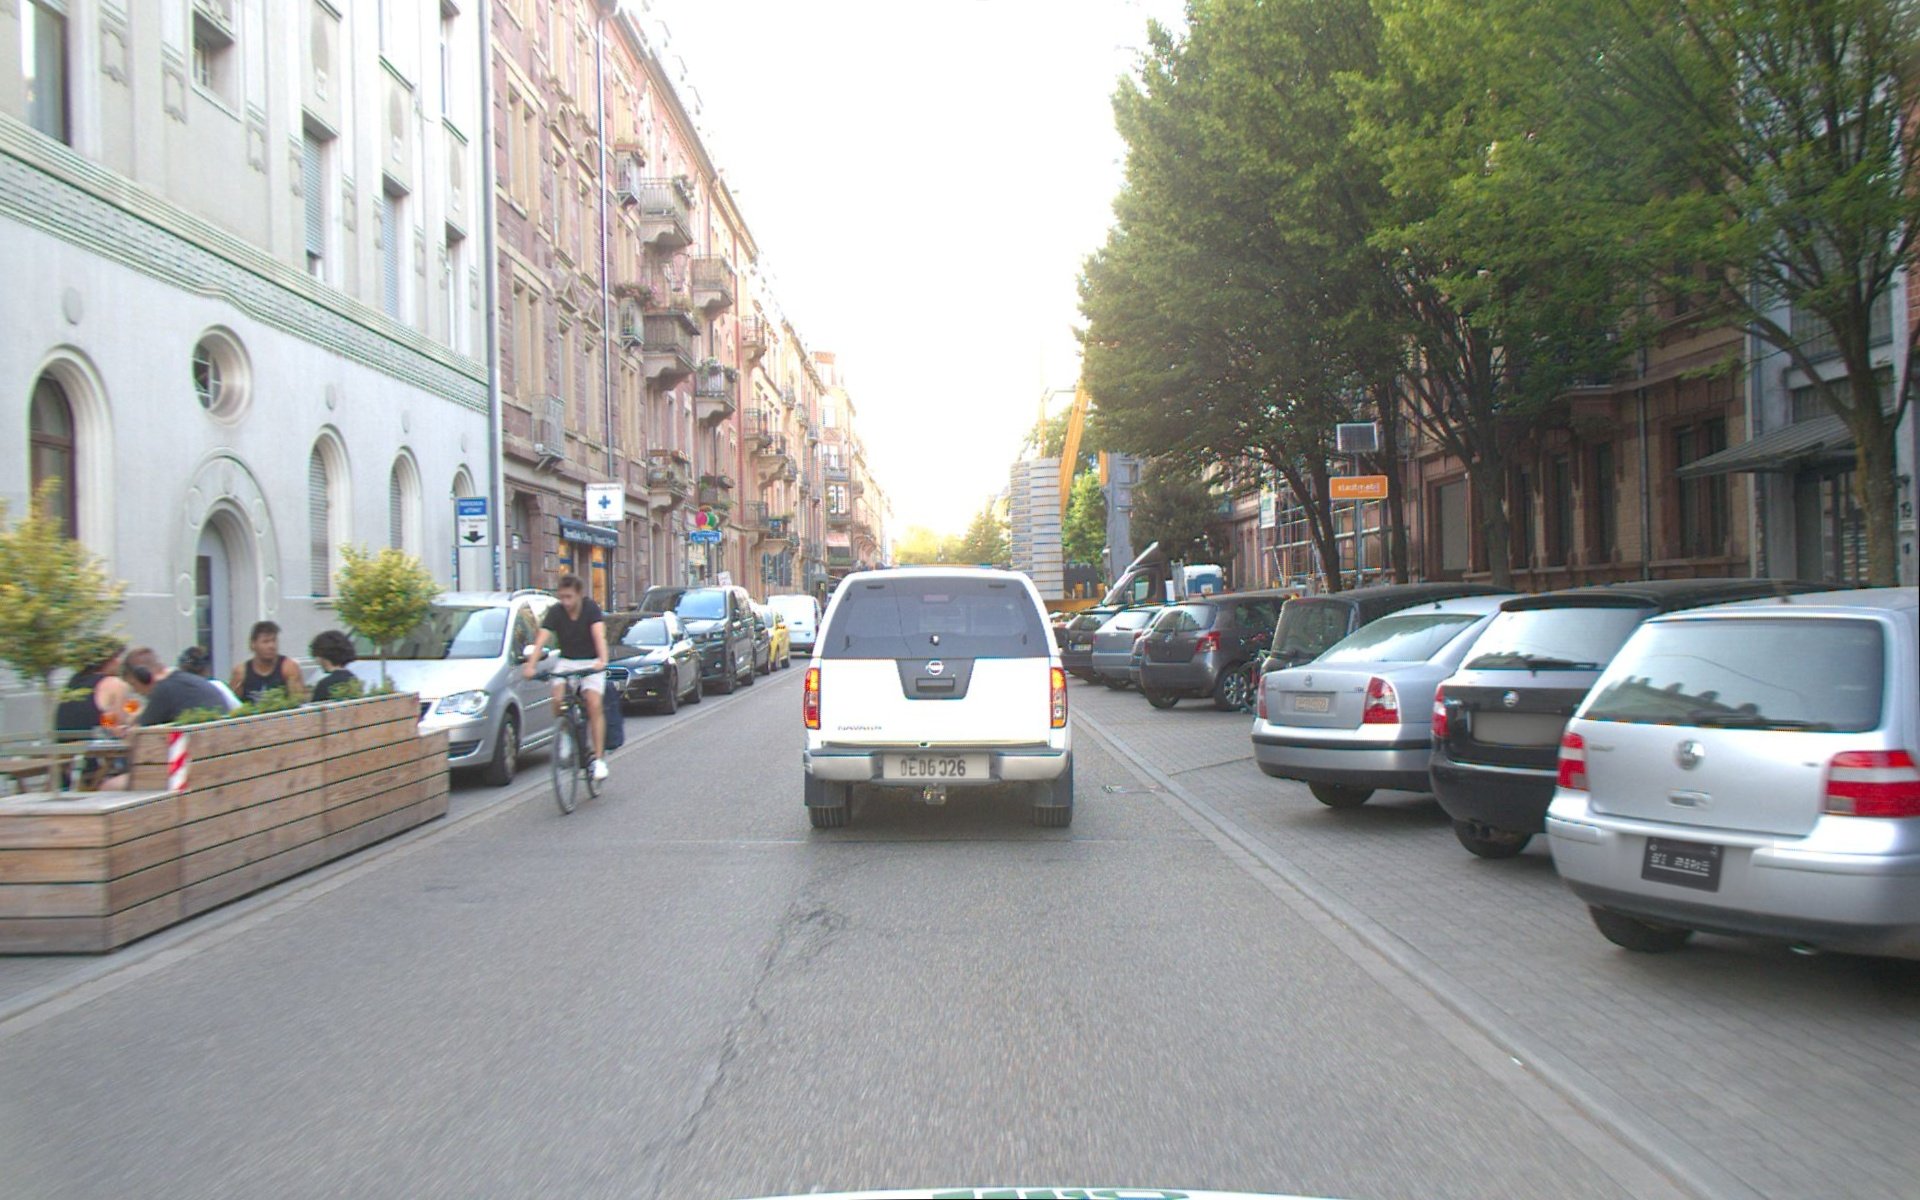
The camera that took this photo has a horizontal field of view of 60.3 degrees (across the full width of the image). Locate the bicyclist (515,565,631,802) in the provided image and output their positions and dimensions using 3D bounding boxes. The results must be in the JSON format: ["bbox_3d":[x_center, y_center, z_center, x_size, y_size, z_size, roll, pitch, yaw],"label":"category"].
[{"bbox_3d":[-2.941,0.611,12.664,0.590,1.714,1.142,-1,0,-1],"label":"bicyclist"}]

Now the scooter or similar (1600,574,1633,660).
[{"bbox_3d":[9.953,0.235,25.056,0.361,1.239,1.703,-4,-1,23],"label":"scooter or similar"}]

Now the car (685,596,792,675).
[{"bbox_3d":[-5.082,0.778,38.512,1.865,1.692,4.068,-1,0,1],"label":"car"}]

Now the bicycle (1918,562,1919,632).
[{"bbox_3d":[8.505,0.378,12.195,2.482,1.403,0.599,-1,0,1],"label":"bicycle"}]

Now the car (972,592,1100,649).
[{"bbox_3d":[2.507,0.674,54.113,4.107,1.811,1.820,-1,0,5],"label":"car"}]

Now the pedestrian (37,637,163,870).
[{"bbox_3d":[-5.279,0.922,10.172,0.459,1.374,0.610,-1,-1,-2],"label":"pedestrian"}]

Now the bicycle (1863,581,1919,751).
[{"bbox_3d":[8.537,0.384,12.932,2.483,1.266,0.599,-7,-1,1],"label":"bicycle"}]

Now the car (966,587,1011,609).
[{"bbox_3d":[2.849,-0.186,165.972,4.492,2.215,1.820,-1,0,2],"label":"car"}]

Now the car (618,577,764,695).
[{"bbox_3d":[-4.784,0.601,30.085,1.866,1.959,4.946,0,0,0],"label":"car"}]

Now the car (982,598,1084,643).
[{"bbox_3d":[2.965,0.829,67.568,4.108,1.811,1.820,-1,0,2],"label":"car"}]

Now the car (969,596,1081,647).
[{"bbox_3d":[2.340,0.774,60.345,3.906,1.676,1.999,-2,0,-2],"label":"car"}]

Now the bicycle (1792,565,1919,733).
[{"bbox_3d":[8.612,0.393,14.308,2.482,1.403,0.599,-1,0,1],"label":"bicycle"}]

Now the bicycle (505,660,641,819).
[{"bbox_3d":[-2.936,1.026,12.725,0.602,1.058,1.903,-1,0,-1],"label":"bicycle"}]

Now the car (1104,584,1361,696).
[{"bbox_3d":[4.411,0.619,26.768,3.779,1.557,1.747,-3,0,-27],"label":"car"}]

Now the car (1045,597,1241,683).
[{"bbox_3d":[3.590,0.730,32.126,3.858,1.557,1.614,0,0,-41],"label":"car"}]

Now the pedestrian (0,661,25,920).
[{"bbox_3d":[-5.296,1.005,8.544,0.526,1.348,0.705,-1,-1,0],"label":"pedestrian"}]

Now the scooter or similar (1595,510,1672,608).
[{"bbox_3d":[9.179,-0.536,22.587,0.457,1.238,1.777,-8,-2,10],"label":"scooter or similar"}]

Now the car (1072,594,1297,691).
[{"bbox_3d":[4.019,0.712,29.353,3.795,1.462,1.740,-3,1,-36],"label":"car"}]

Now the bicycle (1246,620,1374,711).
[{"bbox_3d":[4.542,0.847,21.587,0.551,1.127,1.839,0,-2,-29],"label":"bicycle"}]

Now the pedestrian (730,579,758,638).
[{"bbox_3d":[-6.987,0.268,53.560,0.603,1.902,0.740,-1,0,22],"label":"pedestrian"}]

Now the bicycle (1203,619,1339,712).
[{"bbox_3d":[3.975,0.840,21.253,0.684,1.127,1.839,0,-2,-29],"label":"bicycle"}]

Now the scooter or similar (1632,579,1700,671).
[{"bbox_3d":[10.191,0.348,23.909,0.403,1.239,1.777,-6,-1,10],"label":"scooter or similar"}]

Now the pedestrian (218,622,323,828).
[{"bbox_3d":[-4.750,0.843,11.415,0.506,1.374,0.540,-1,-1,-4],"label":"pedestrian"}]

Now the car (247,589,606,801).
[{"bbox_3d":[-4.666,0.753,15.197,1.953,1.619,4.313,-1,0,-1],"label":"car"}]

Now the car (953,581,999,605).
[{"bbox_3d":[1.601,-0.681,162.207,4.492,2.215,1.820,-1,0,2],"label":"car"}]

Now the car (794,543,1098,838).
[{"bbox_3d":[-0.022,0.591,12.606,1.893,1.826,4.622,0,-1,2],"label":"car"}]

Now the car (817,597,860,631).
[{"bbox_3d":[-5.743,0.662,78.477,1.755,1.557,3.999,0,0,0],"label":"car"}]

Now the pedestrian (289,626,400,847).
[{"bbox_3d":[-3.983,0.861,10.737,0.474,1.374,0.669,-1,-1,-2],"label":"pedestrian"}]

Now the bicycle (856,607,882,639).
[{"bbox_3d":[-2.797,0.692,50.855,0.784,0.963,2.003,0,0,-3],"label":"bicycle"}]

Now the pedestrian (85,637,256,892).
[{"bbox_3d":[-4.409,0.894,9.282,0.596,1.348,0.770,-1,-1,-2],"label":"pedestrian"}]

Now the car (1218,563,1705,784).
[{"bbox_3d":[4.509,0.588,14.930,3.930,1.665,1.748,-2,0,-21],"label":"car"}]

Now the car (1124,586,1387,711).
[{"bbox_3d":[4.204,0.640,23.482,3.364,1.500,1.755,-3,1,-32],"label":"car"}]

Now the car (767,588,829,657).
[{"bbox_3d":[-4.826,0.649,49.549,1.527,1.955,3.855,1,0,-1],"label":"car"}]

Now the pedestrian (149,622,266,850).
[{"bbox_3d":[-4.720,0.832,10.395,0.459,1.374,0.610,-1,-1,-2],"label":"pedestrian"}]

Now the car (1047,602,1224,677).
[{"bbox_3d":[3.729,0.805,34.983,3.514,1.490,1.594,0,0,-32],"label":"car"}]

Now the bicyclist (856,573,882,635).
[{"bbox_3d":[-2.803,0.128,50.897,0.784,1.882,0.943,0,0,-3],"label":"bicyclist"}]

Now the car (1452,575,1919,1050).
[{"bbox_3d":[3.988,0.649,6.891,3.554,1.508,1.706,-2,0,-29],"label":"car"}]

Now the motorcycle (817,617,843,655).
[{"bbox_3d":[-5.081,1.394,64.786,0.819,1.441,2.549,0,0,0],"label":"motorcycle"}]

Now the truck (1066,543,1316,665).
[{"bbox_3d":[5.935,0.147,43.194,6.190,3.029,2.264,-1,-3,0],"label":"truck"}]

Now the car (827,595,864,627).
[{"bbox_3d":[-5.871,0.552,84.907,1.675,1.557,3.999,0,0,-1],"label":"car"}]

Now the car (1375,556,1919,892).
[{"bbox_3d":[4.242,0.571,9.393,3.555,1.561,1.547,-2,0,-29],"label":"car"}]

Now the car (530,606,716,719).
[{"bbox_3d":[-4.834,0.840,24.360,1.873,1.498,4.533,0,0,-1],"label":"car"}]

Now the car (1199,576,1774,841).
[{"bbox_3d":[3.955,0.661,12.137,4.337,1.561,1.784,-2,0,-36],"label":"car"}]
